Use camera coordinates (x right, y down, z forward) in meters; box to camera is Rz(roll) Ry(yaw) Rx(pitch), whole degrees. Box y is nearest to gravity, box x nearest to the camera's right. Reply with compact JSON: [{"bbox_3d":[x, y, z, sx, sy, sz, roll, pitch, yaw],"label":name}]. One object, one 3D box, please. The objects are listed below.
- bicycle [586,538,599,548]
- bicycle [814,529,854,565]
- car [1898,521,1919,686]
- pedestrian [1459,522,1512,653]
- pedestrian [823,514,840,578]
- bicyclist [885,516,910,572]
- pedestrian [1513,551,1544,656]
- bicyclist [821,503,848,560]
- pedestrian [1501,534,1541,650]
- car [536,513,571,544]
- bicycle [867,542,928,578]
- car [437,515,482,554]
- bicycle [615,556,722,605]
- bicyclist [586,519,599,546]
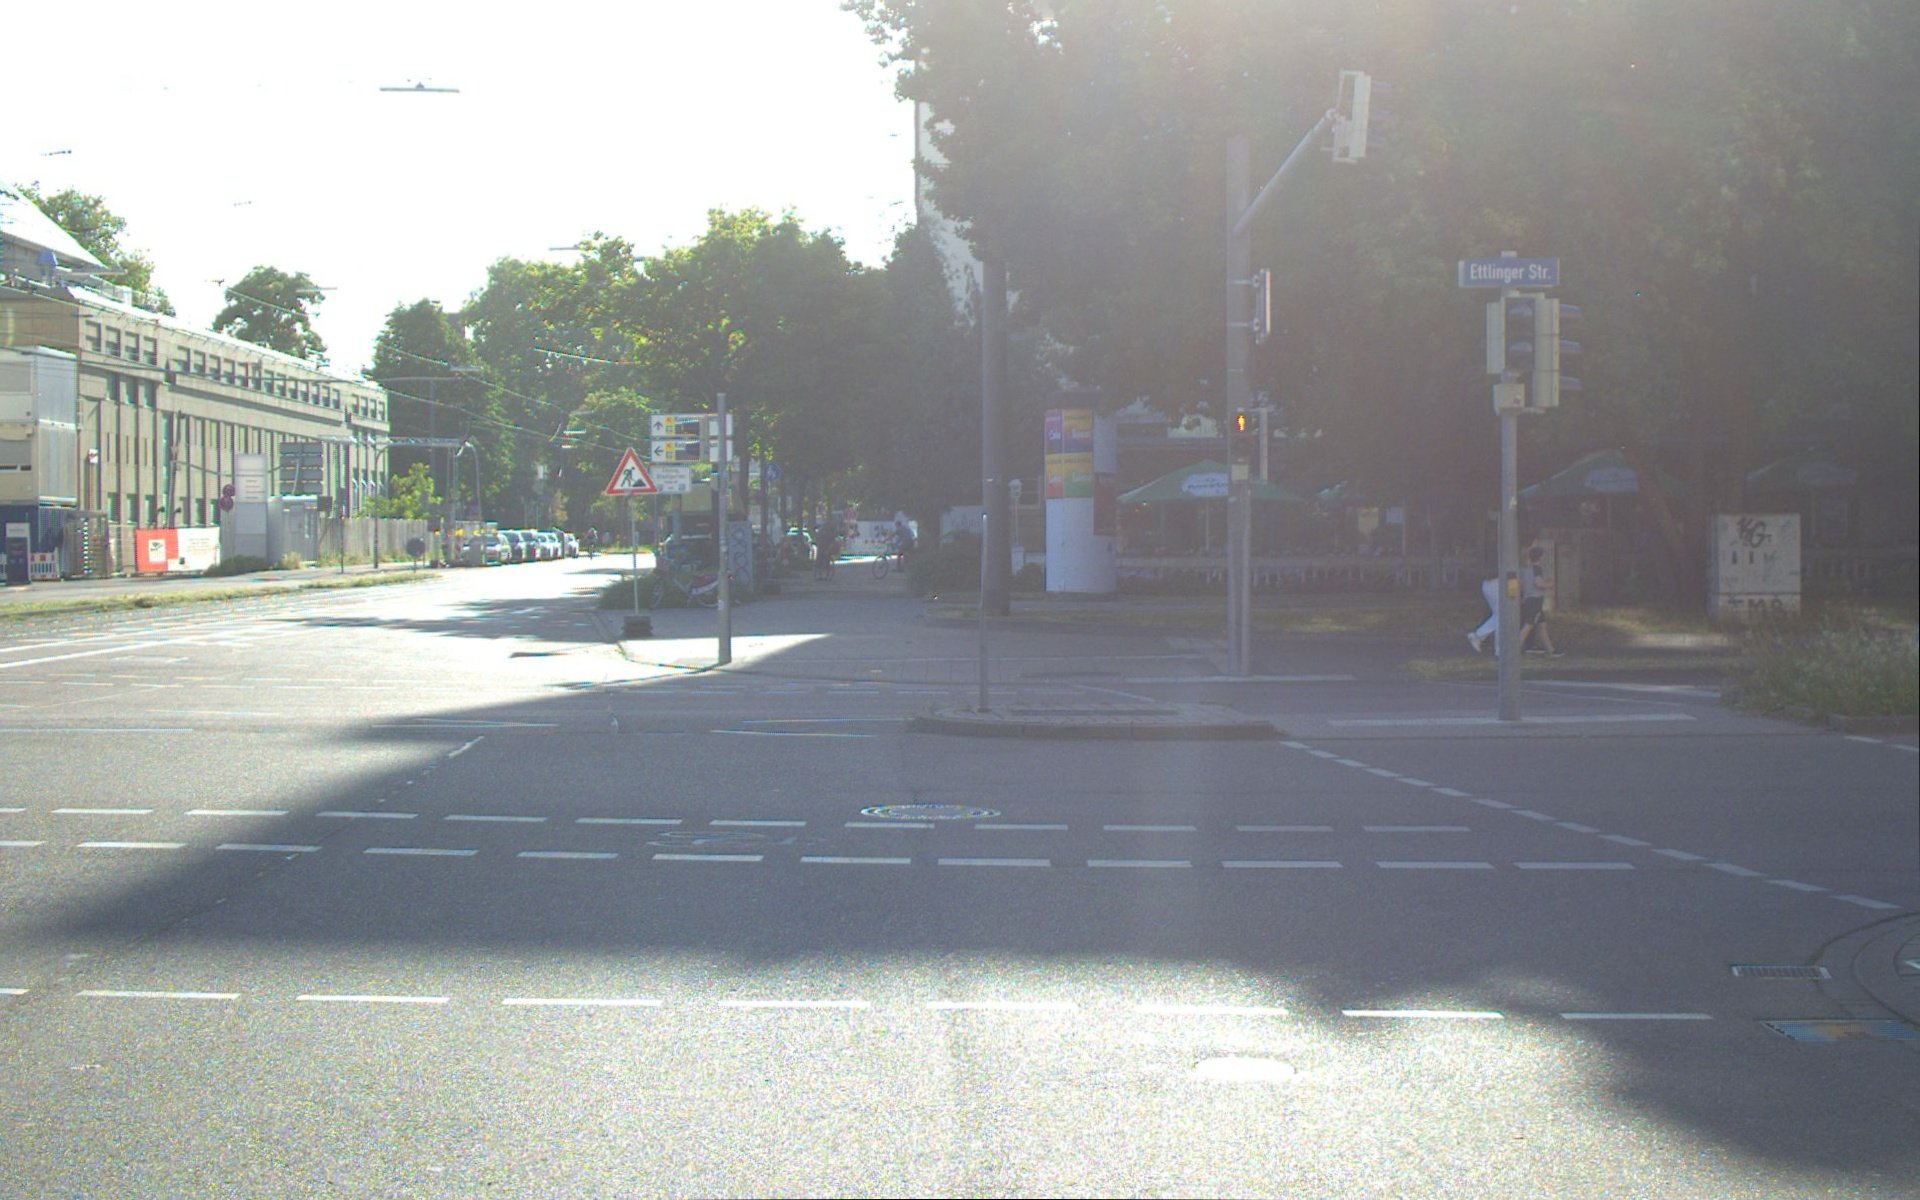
[{"bbox_3d":[-18.730,-2.898,175.234,0.501,0.513,1.258,1,1,-1],"label":"bicycle"},{"bbox_3d":[-3.801,-1.593,103.554,0.575,1.073,1.831,-1,1,-23],"label":"bicycle"},{"bbox_3d":[11.349,0.019,33.415,3.993,1.605,1.650,-1,1,-1],"label":"car"},{"bbox_3d":[6.729,-0.160,44.062,0.583,1.657,0.514,1,2,2],"label":"pedestrian"},{"bbox_3d":[-3.679,-1.542,98.401,0.463,1.807,0.503,0,1,-5],"label":"pedestrian"},{"bbox_3d":[-1.884,-1.700,103.995,0.697,1.685,0.571,0,1,2],"label":"bicyclist"},{"bbox_3d":[7.182,0.044,43.417,0.317,1.311,0.345,1,2,2],"label":"pedestrian"},{"bbox_3d":[-3.779,-2.061,103.579,0.569,1.685,0.700,-1,1,-23],"label":"bicyclist"},{"bbox_3d":[7.251,-0.107,44.463,0.439,1.498,0.437,0,1,1],"label":"pedestrian"},{"bbox_3d":[-23.012,-4.028,194.688,1.692,1.712,4.248,1,1,-4],"label":"car"},{"bbox_3d":[-1.891,-1.204,104.009,1.825,1.073,0.577,0,1,3],"label":"bicycle"},{"bbox_3d":[-22.772,-2.964,156.442,1.692,1.712,4.248,1,1,-4],"label":"car"},{"bbox_3d":[-5.727,-0.381,67.478,2.018,0.888,0.650,-2,0,27],"label":"bicycle"},{"bbox_3d":[-18.705,-3.452,175.158,0.596,1.372,0.638,1,0,-2],"label":"bicyclist"}]
